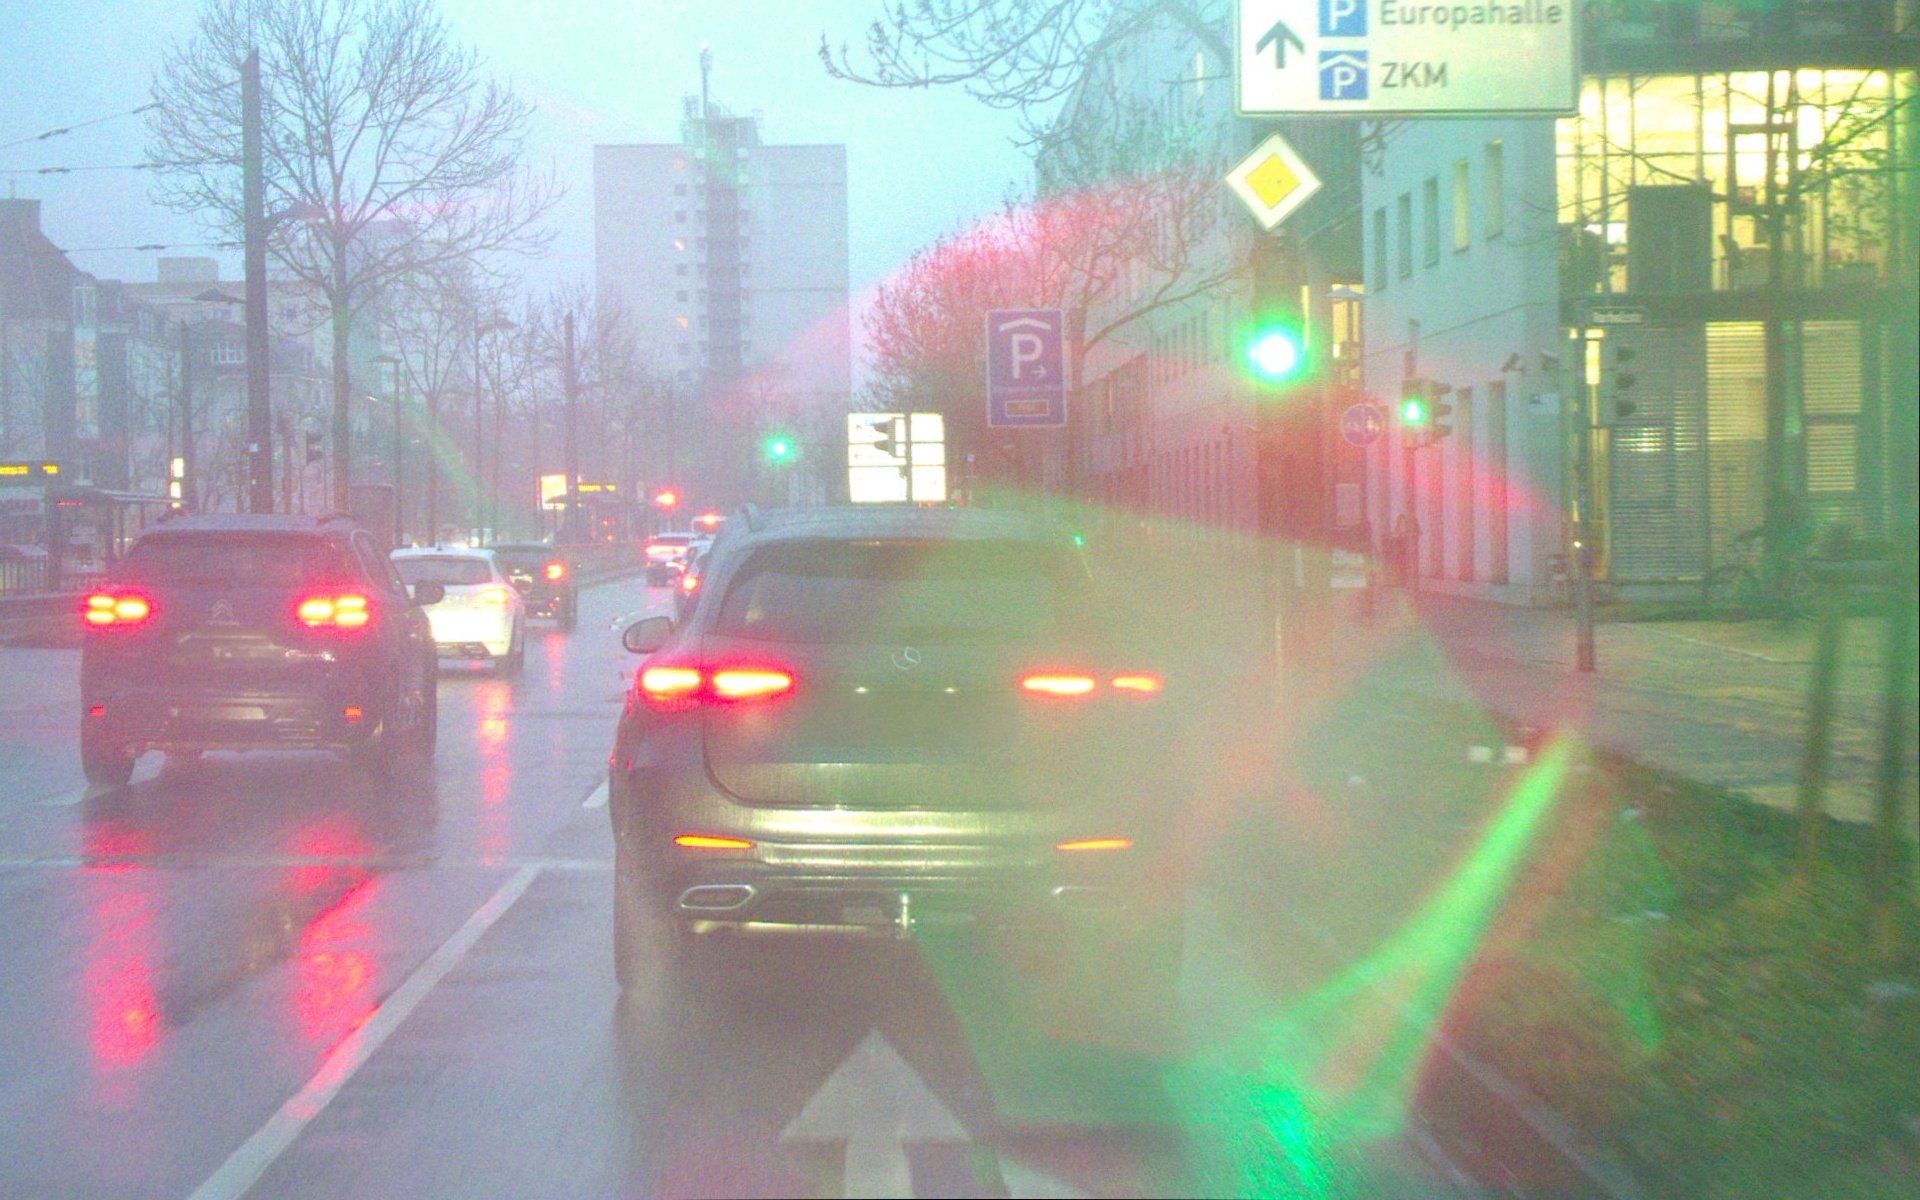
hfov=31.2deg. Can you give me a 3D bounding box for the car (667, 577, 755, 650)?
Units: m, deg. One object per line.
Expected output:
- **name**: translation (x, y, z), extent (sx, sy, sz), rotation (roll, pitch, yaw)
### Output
- **car**: translation (-5.329, 0.270, 73.950), extent (1.559, 1.455, 3.111), rotation (1, 1, 2)

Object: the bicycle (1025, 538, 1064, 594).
- **bicycle**: translation (1.491, -0.602, 60.955), extent (0.544, 0.962, 1.346), rotation (1, 1, -5)

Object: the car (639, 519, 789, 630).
- **car**: translation (-3.602, -0.403, 50.867), extent (1.867, 1.537, 3.610), rotation (1, 1, 1)

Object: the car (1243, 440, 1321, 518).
- **car**: translation (7.522, -2.809, 80.429), extent (1.627, 1.753, 3.421), rotation (1, 1, 3)

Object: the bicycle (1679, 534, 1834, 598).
- **bicycle**: translation (9.788, -0.418, 42.276), extent (1.731, 0.743, 0.650), rotation (2, 1, 32)

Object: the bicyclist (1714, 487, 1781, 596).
- **bicyclist**: translation (9.698, -0.725, 42.334), extent (0.622, 1.325, 0.564), rotation (2, 1, 31)

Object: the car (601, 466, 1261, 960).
- **car**: translation (-0.154, 0.317, 12.367), extent (1.993, 1.478, 3.700), rotation (1, 1, -2)

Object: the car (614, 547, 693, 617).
- **car**: translation (-9.165, -0.562, 103.011), extent (1.993, 2.007, 4.000), rotation (1, 1, 0)

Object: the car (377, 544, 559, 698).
- **car**: translation (-5.595, 0.202, 39.447), extent (1.689, 1.629, 3.474), rotation (1, 1, -2)

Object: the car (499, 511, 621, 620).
- **car**: translation (-6.708, -0.581, 57.893), extent (1.662, 1.753, 3.568), rotation (1, 1, -1)

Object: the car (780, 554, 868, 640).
- **car**: translation (-2.857, -0.085, 72.783), extent (1.575, 1.699, 3.702), rotation (1, 1, 2)

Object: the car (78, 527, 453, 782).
- **car**: translation (-4.323, 0.274, 21.953), extent (1.817, 1.445, 4.001), rotation (1, 1, -4)
